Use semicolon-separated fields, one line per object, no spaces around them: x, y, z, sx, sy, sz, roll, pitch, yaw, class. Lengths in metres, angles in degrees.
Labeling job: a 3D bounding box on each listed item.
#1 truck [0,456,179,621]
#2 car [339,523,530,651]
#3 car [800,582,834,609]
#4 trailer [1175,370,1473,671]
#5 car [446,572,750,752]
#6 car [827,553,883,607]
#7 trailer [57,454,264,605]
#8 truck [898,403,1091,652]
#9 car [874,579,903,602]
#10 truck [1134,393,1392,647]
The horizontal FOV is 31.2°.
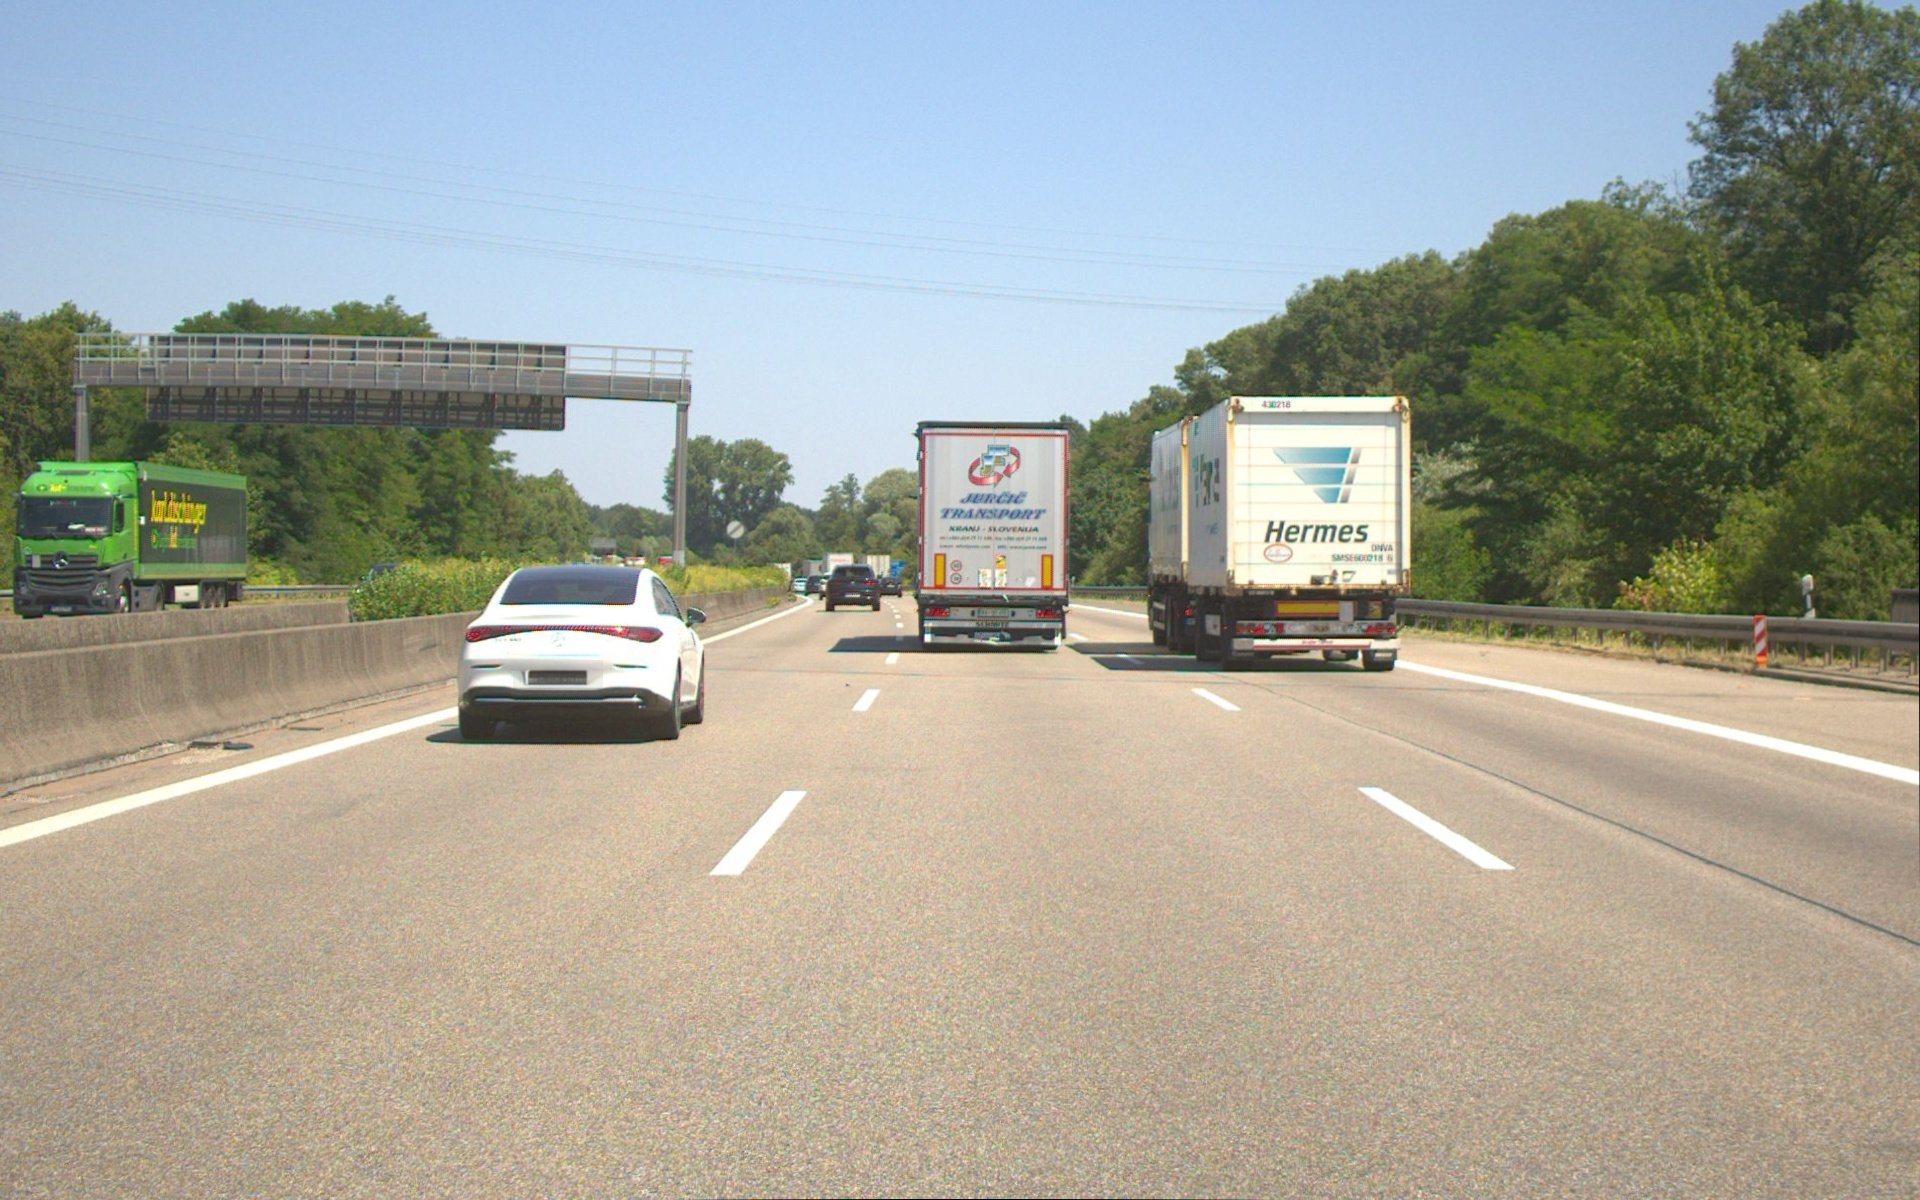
-21.620;-1.523;85.165;2.922;3.927;6.498;0;1;1;truck
-8.572;-0.233;56.475;2.292;2.007;4.711;0;1;2;car
-8.638;-0.266;207.977;1.993;1.590;4.000;0;1;-2;car
5.284;-1.190;51.785;3.367;4.128;9.092;0;1;-1;trailer
-3.104;0.481;30.528;1.767;1.443;5.107;0;1;5;car
-3.844;-0.740;126.464;1.993;1.867;4.001;0;2;-1;car
-21.584;-1.971;93.573;2.924;3.849;11.868;0;2;0;trailer
0.549;-1.323;61.962;3.229;4.187;8.466;0;1;0;truck
-5.058;-0.651;242.984;1.993;1.590;4.000;0;1;-2;car
5.115;-1.413;60.361;3.325;4.039;10.955;0;1;-1;truck
